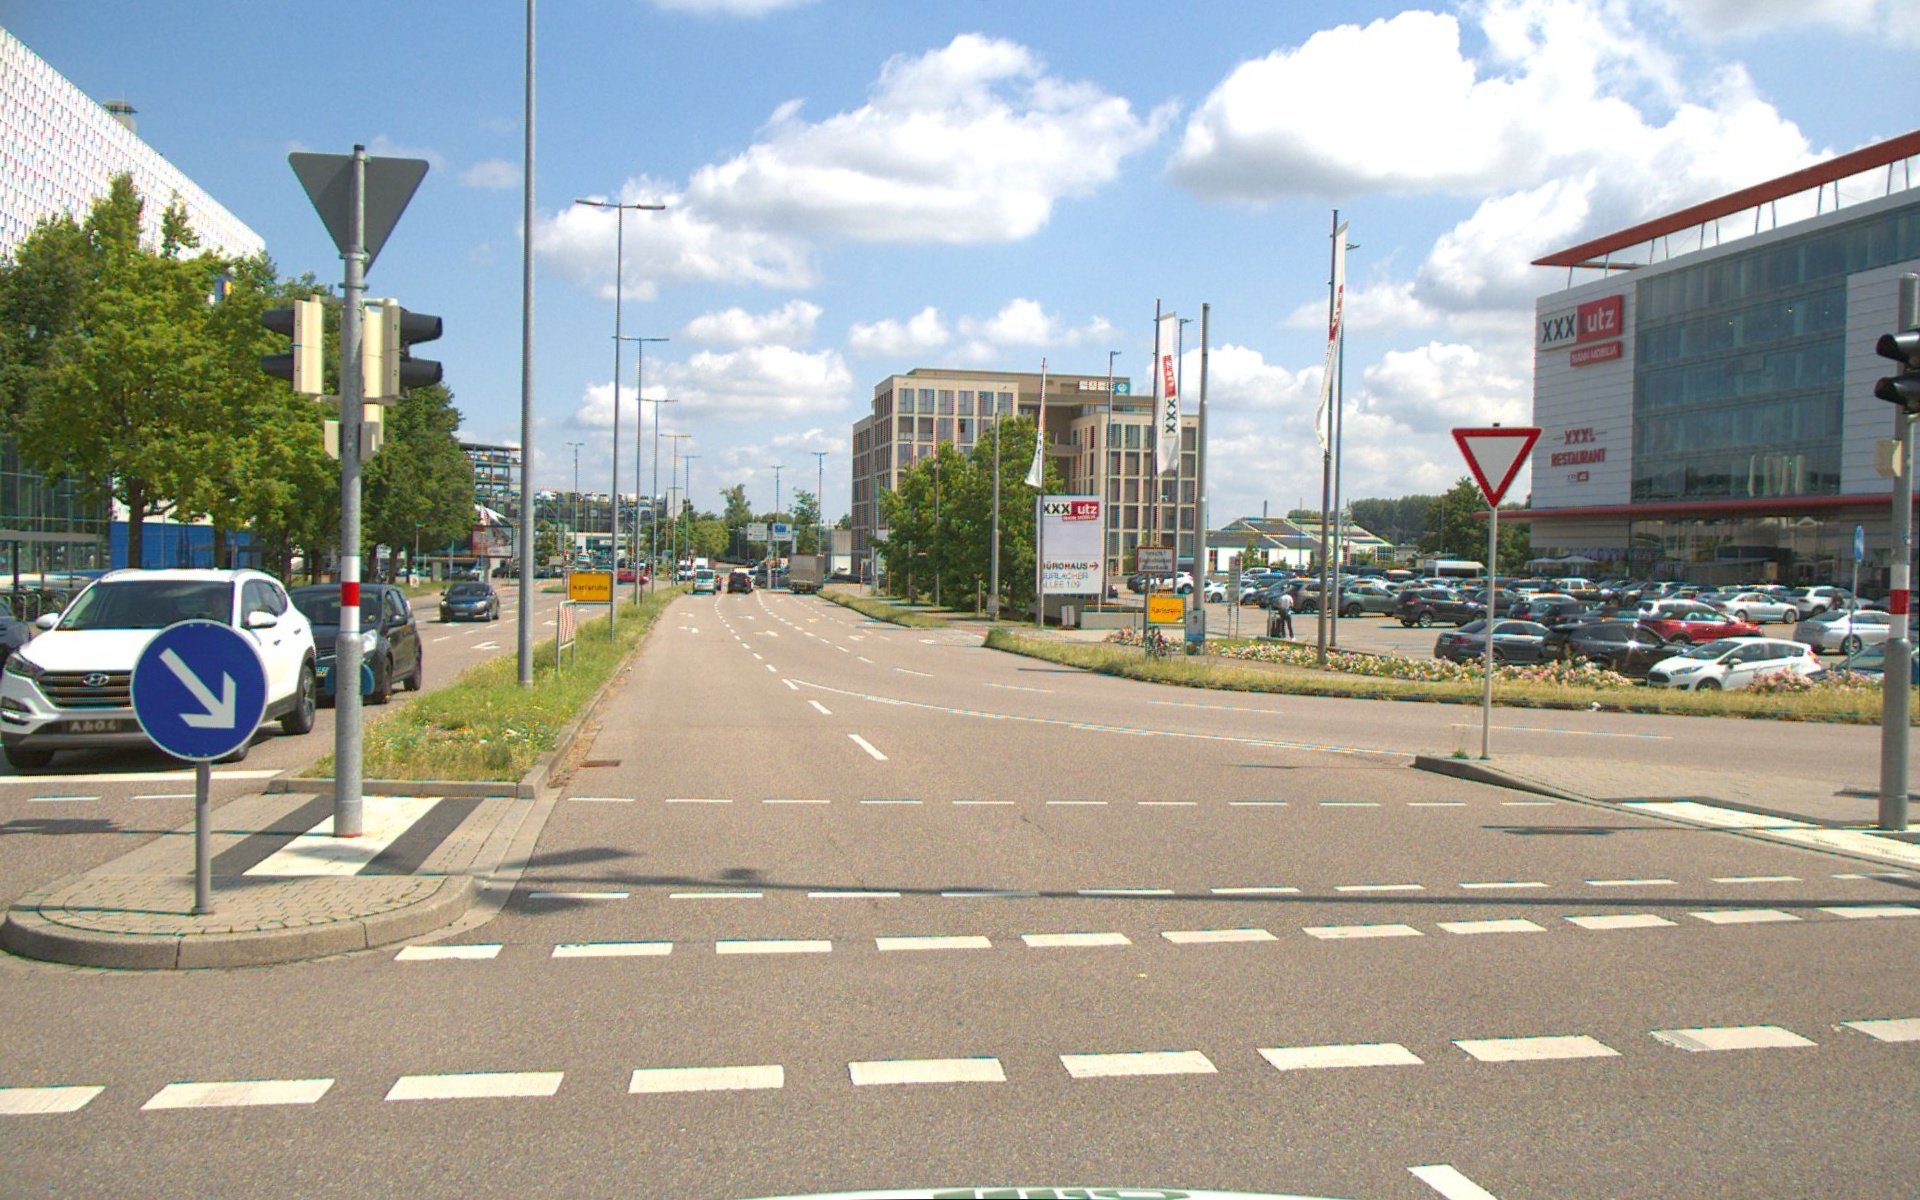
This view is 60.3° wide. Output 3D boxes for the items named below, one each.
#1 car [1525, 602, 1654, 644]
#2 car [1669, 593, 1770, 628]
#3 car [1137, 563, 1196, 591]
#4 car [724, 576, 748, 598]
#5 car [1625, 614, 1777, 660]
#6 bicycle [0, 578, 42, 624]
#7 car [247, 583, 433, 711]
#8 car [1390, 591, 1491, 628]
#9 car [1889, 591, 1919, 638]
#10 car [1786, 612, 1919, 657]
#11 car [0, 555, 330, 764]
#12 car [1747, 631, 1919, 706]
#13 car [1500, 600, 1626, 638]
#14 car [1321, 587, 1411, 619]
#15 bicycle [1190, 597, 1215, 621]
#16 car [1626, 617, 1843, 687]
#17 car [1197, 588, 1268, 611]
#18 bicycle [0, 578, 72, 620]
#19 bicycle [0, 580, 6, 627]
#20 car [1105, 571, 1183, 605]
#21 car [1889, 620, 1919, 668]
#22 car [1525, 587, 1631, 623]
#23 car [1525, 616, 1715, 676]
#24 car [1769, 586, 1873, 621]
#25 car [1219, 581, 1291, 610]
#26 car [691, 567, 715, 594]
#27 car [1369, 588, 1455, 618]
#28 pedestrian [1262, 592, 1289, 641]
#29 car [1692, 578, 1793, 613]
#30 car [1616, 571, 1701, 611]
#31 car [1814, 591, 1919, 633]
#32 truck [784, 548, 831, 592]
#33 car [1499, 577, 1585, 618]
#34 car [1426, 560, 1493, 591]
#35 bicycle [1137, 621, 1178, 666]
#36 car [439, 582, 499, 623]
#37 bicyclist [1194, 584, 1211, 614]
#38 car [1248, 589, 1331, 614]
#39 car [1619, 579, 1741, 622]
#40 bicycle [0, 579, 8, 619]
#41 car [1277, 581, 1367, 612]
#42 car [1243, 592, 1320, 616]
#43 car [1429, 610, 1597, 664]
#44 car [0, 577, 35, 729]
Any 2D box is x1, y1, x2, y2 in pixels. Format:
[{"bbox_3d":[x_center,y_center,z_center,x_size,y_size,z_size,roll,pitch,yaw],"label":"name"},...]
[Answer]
[{"bbox_3d":[23.666,0.855,62.242,4.277,1.467,1.624,0,2,-8],"label":"car"},{"bbox_3d":[36.412,0.494,79.319,4.150,1.615,1.848,0,2,-12],"label":"car"},{"bbox_3d":[15.149,-1.674,121.434,3.913,2.048,1.996,0,1,-9],"label":"car"},{"bbox_3d":[-19.613,-1.137,145.012,1.784,1.840,3.997,2,1,-5],"label":"car"},{"bbox_3d":[24.541,1.200,54.815,4.277,1.386,1.844,0,2,-8],"label":"car"},{"bbox_3d":[-27.865,0.011,48.116,1.890,1.295,0.628,2,1,-10],"label":"bicycle"},{"bbox_3d":[-8.154,0.556,22.075,1.574,1.519,4.122,-1,0,-10],"label":"car"},{"bbox_3d":[21.361,0.411,73.583,3.984,1.558,1.736,0,1,-14],"label":"car"},{"bbox_3d":[37.549,0.580,62.414,3.912,1.769,1.997,1,0,-8],"label":"car"},{"bbox_3d":[29.957,1.150,55.318,3.949,1.386,1.600,0,2,-8],"label":"car"},{"bbox_3d":[-7.211,0.474,15.378,1.677,1.648,4.368,-1,0,-10],"label":"car"},{"bbox_3d":[18.442,1.397,33.935,3.916,1.443,1.711,1,0,-12],"label":"car"},{"bbox_3d":[23.562,0.734,64.716,4.277,1.386,1.844,0,2,-8],"label":"car"},{"bbox_3d":[20.671,0.140,84.279,4.107,1.579,1.760,0,1,-11],"label":"car"},{"bbox_3d":[11.634,0.419,79.484,0.611,1.086,1.964,0,1,-9],"label":"bicycle"},{"bbox_3d":[17.905,1.189,38.315,4.278,1.465,1.793,1,0,-10],"label":"car"},{"bbox_3d":[17.555,-0.071,106.546,4.111,1.413,1.887,0,2,-13],"label":"car"},{"bbox_3d":[-28.249,-0.036,50.498,1.890,1.203,0.628,2,1,-10],"label":"bicycle"},{"bbox_3d":[-27.518,0.071,45.682,1.890,1.295,0.628,2,1,-10],"label":"bicycle"},{"bbox_3d":[14.048,-0.889,126.476,5.558,2.407,2.056,2,0,-12],"label":"car"},{"bbox_3d":[31.268,1.364,51.058,4.277,1.386,1.844,0,2,-8],"label":"car"},{"bbox_3d":[28.218,0.226,75.603,4.211,1.452,1.756,1,2,-10],"label":"car"},{"bbox_3d":[17.198,1.190,43.174,4.278,1.441,1.853,1,0,-10],"label":"car"},{"bbox_3d":[41.591,0.157,79.916,4.261,1.537,1.702,2,1,-11],"label":"car"},{"bbox_3d":[18.124,-0.283,101.614,3.917,1.598,1.994,2,0,-12],"label":"car"},{"bbox_3d":[-20.700,-1.596,133.064,1.822,2.053,3.992,2,1,-9],"label":"car"},{"bbox_3d":[24.553,0.149,89.911,4.164,1.489,1.756,2,1,-11],"label":"car"},{"bbox_3d":[11.975,0.614,62.800,0.851,1.813,0.784,2,1,20],"label":"pedestrian"},{"bbox_3d":[36.299,-0.198,76.715,4.082,1.537,1.700,0,1,-14],"label":"car"},{"bbox_3d":[39.285,-0.522,93.020,3.914,2.048,1.996,2,1,-10],"label":"car"},{"bbox_3d":[38.167,0.509,69.386,3.943,1.615,1.691,1,2,-11],"label":"car"},{"bbox_3d":[-14.707,-2.912,160.208,3.064,4.009,8.863,2,1,3],"label":"truck"},{"bbox_3d":[31.900,-0.145,90.712,3.914,2.048,1.996,2,1,-10],"label":"car"},{"bbox_3d":[34.704,-1.688,115.015,3.914,1.985,1.996,2,1,-10],"label":"car"},{"bbox_3d":[4.524,0.998,37.943,0.507,0.969,1.540,2,0,-10],"label":"bicycle"},{"bbox_3d":[-18.459,0.078,62.345,1.633,1.446,4.508,-1,0,-10],"label":"car"},{"bbox_3d":[11.641,-0.047,79.430,0.604,1.437,0.713,1,1,-9],"label":"bicyclist"},{"bbox_3d":[18.673,0.097,93.723,4.281,1.348,1.760,0,1,-11],"label":"car"},{"bbox_3d":[28.648,0.006,65.851,4.073,1.534,1.822,2,1,-10],"label":"car"},{"bbox_3d":[-30.590,-0.060,51.115,1.890,1.204,0.628,2,1,-10],"label":"bicycle"},{"bbox_3d":[19.355,-0.177,88.464,4.281,1.601,2.025,0,1,-11],"label":"car"},{"bbox_3d":[18.761,0.235,96.686,4.107,1.348,1.684,0,1,-10],"label":"car"},{"bbox_3d":[16.050,1.062,48.100,4.277,1.502,1.853,0,1,-8],"label":"car"},{"bbox_3d":[-11.064,0.580,16.719,1.738,1.643,3.990,-1,-1,-10],"label":"car"}]
